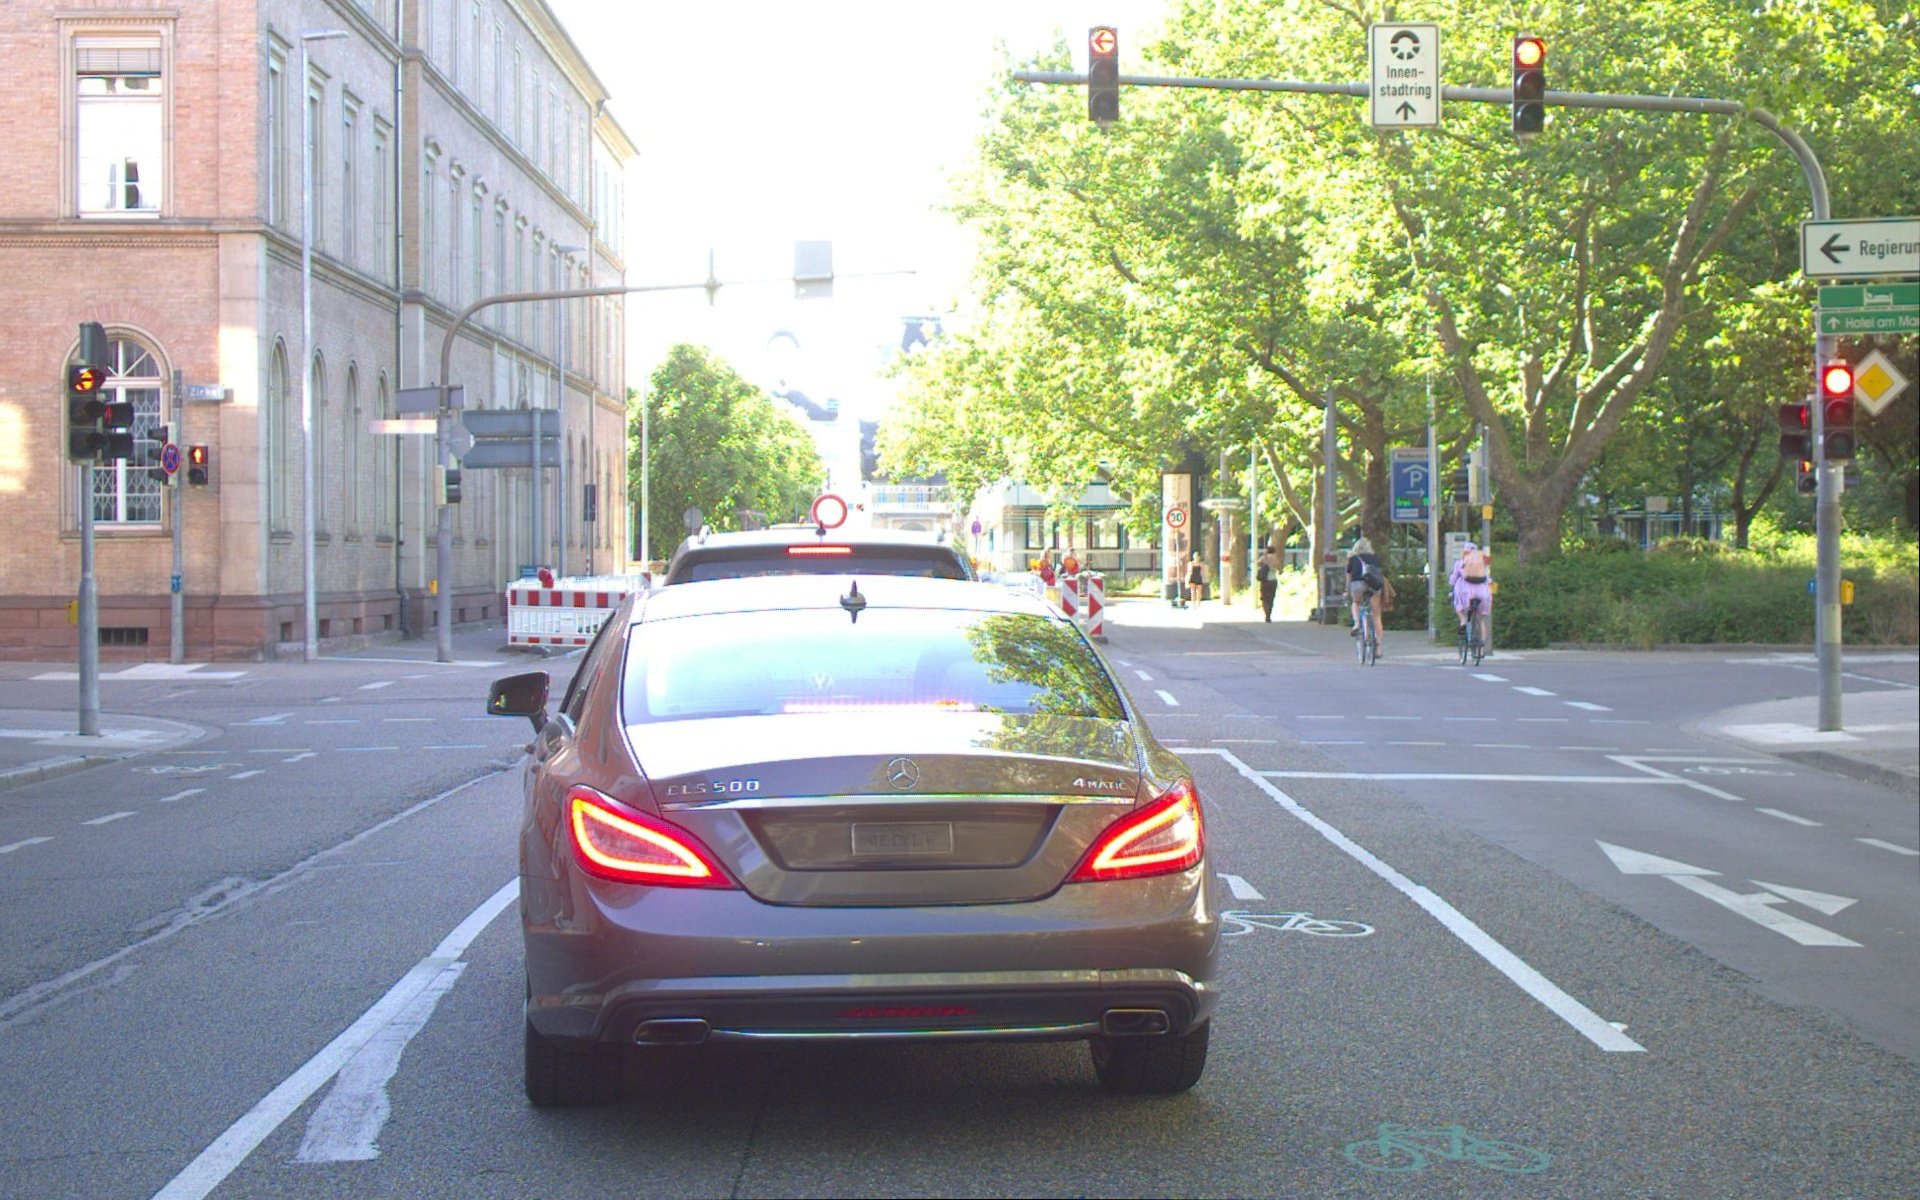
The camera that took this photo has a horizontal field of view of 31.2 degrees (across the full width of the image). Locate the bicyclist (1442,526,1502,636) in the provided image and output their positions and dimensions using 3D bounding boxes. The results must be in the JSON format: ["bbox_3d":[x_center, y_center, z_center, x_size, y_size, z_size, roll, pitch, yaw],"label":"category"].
[{"bbox_3d":[6.661,-0.254,44.758,0.600,1.397,0.931,2,1,-1],"label":"bicyclist"}]

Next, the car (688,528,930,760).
[{"bbox_3d":[-1.114,0.279,25.894,1.681,1.619,3.841,0,1,-2],"label":"car"}]

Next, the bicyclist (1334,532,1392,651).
[{"bbox_3d":[5.238,-0.115,44.723,0.610,1.511,0.890,1,1,-1],"label":"bicyclist"}]

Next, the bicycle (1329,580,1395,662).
[{"bbox_3d":[5.226,0.264,44.795,0.610,1.023,1.731,1,1,-1],"label":"bicycle"}]

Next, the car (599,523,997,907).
[{"bbox_3d":[-0.745,0.458,16.441,1.681,1.619,3.841,0,1,-2],"label":"car"}]

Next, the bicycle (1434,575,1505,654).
[{"bbox_3d":[6.638,0.181,44.844,0.600,0.981,1.881,2,1,-1],"label":"bicycle"}]

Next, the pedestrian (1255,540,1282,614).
[{"bbox_3d":[6.938,-0.522,77.274,0.559,1.672,0.564,0,1,-1],"label":"pedestrian"}]

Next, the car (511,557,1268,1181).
[{"bbox_3d":[-0.435,0.607,10.387,1.821,1.471,4.354,0,1,-7],"label":"car"}]
